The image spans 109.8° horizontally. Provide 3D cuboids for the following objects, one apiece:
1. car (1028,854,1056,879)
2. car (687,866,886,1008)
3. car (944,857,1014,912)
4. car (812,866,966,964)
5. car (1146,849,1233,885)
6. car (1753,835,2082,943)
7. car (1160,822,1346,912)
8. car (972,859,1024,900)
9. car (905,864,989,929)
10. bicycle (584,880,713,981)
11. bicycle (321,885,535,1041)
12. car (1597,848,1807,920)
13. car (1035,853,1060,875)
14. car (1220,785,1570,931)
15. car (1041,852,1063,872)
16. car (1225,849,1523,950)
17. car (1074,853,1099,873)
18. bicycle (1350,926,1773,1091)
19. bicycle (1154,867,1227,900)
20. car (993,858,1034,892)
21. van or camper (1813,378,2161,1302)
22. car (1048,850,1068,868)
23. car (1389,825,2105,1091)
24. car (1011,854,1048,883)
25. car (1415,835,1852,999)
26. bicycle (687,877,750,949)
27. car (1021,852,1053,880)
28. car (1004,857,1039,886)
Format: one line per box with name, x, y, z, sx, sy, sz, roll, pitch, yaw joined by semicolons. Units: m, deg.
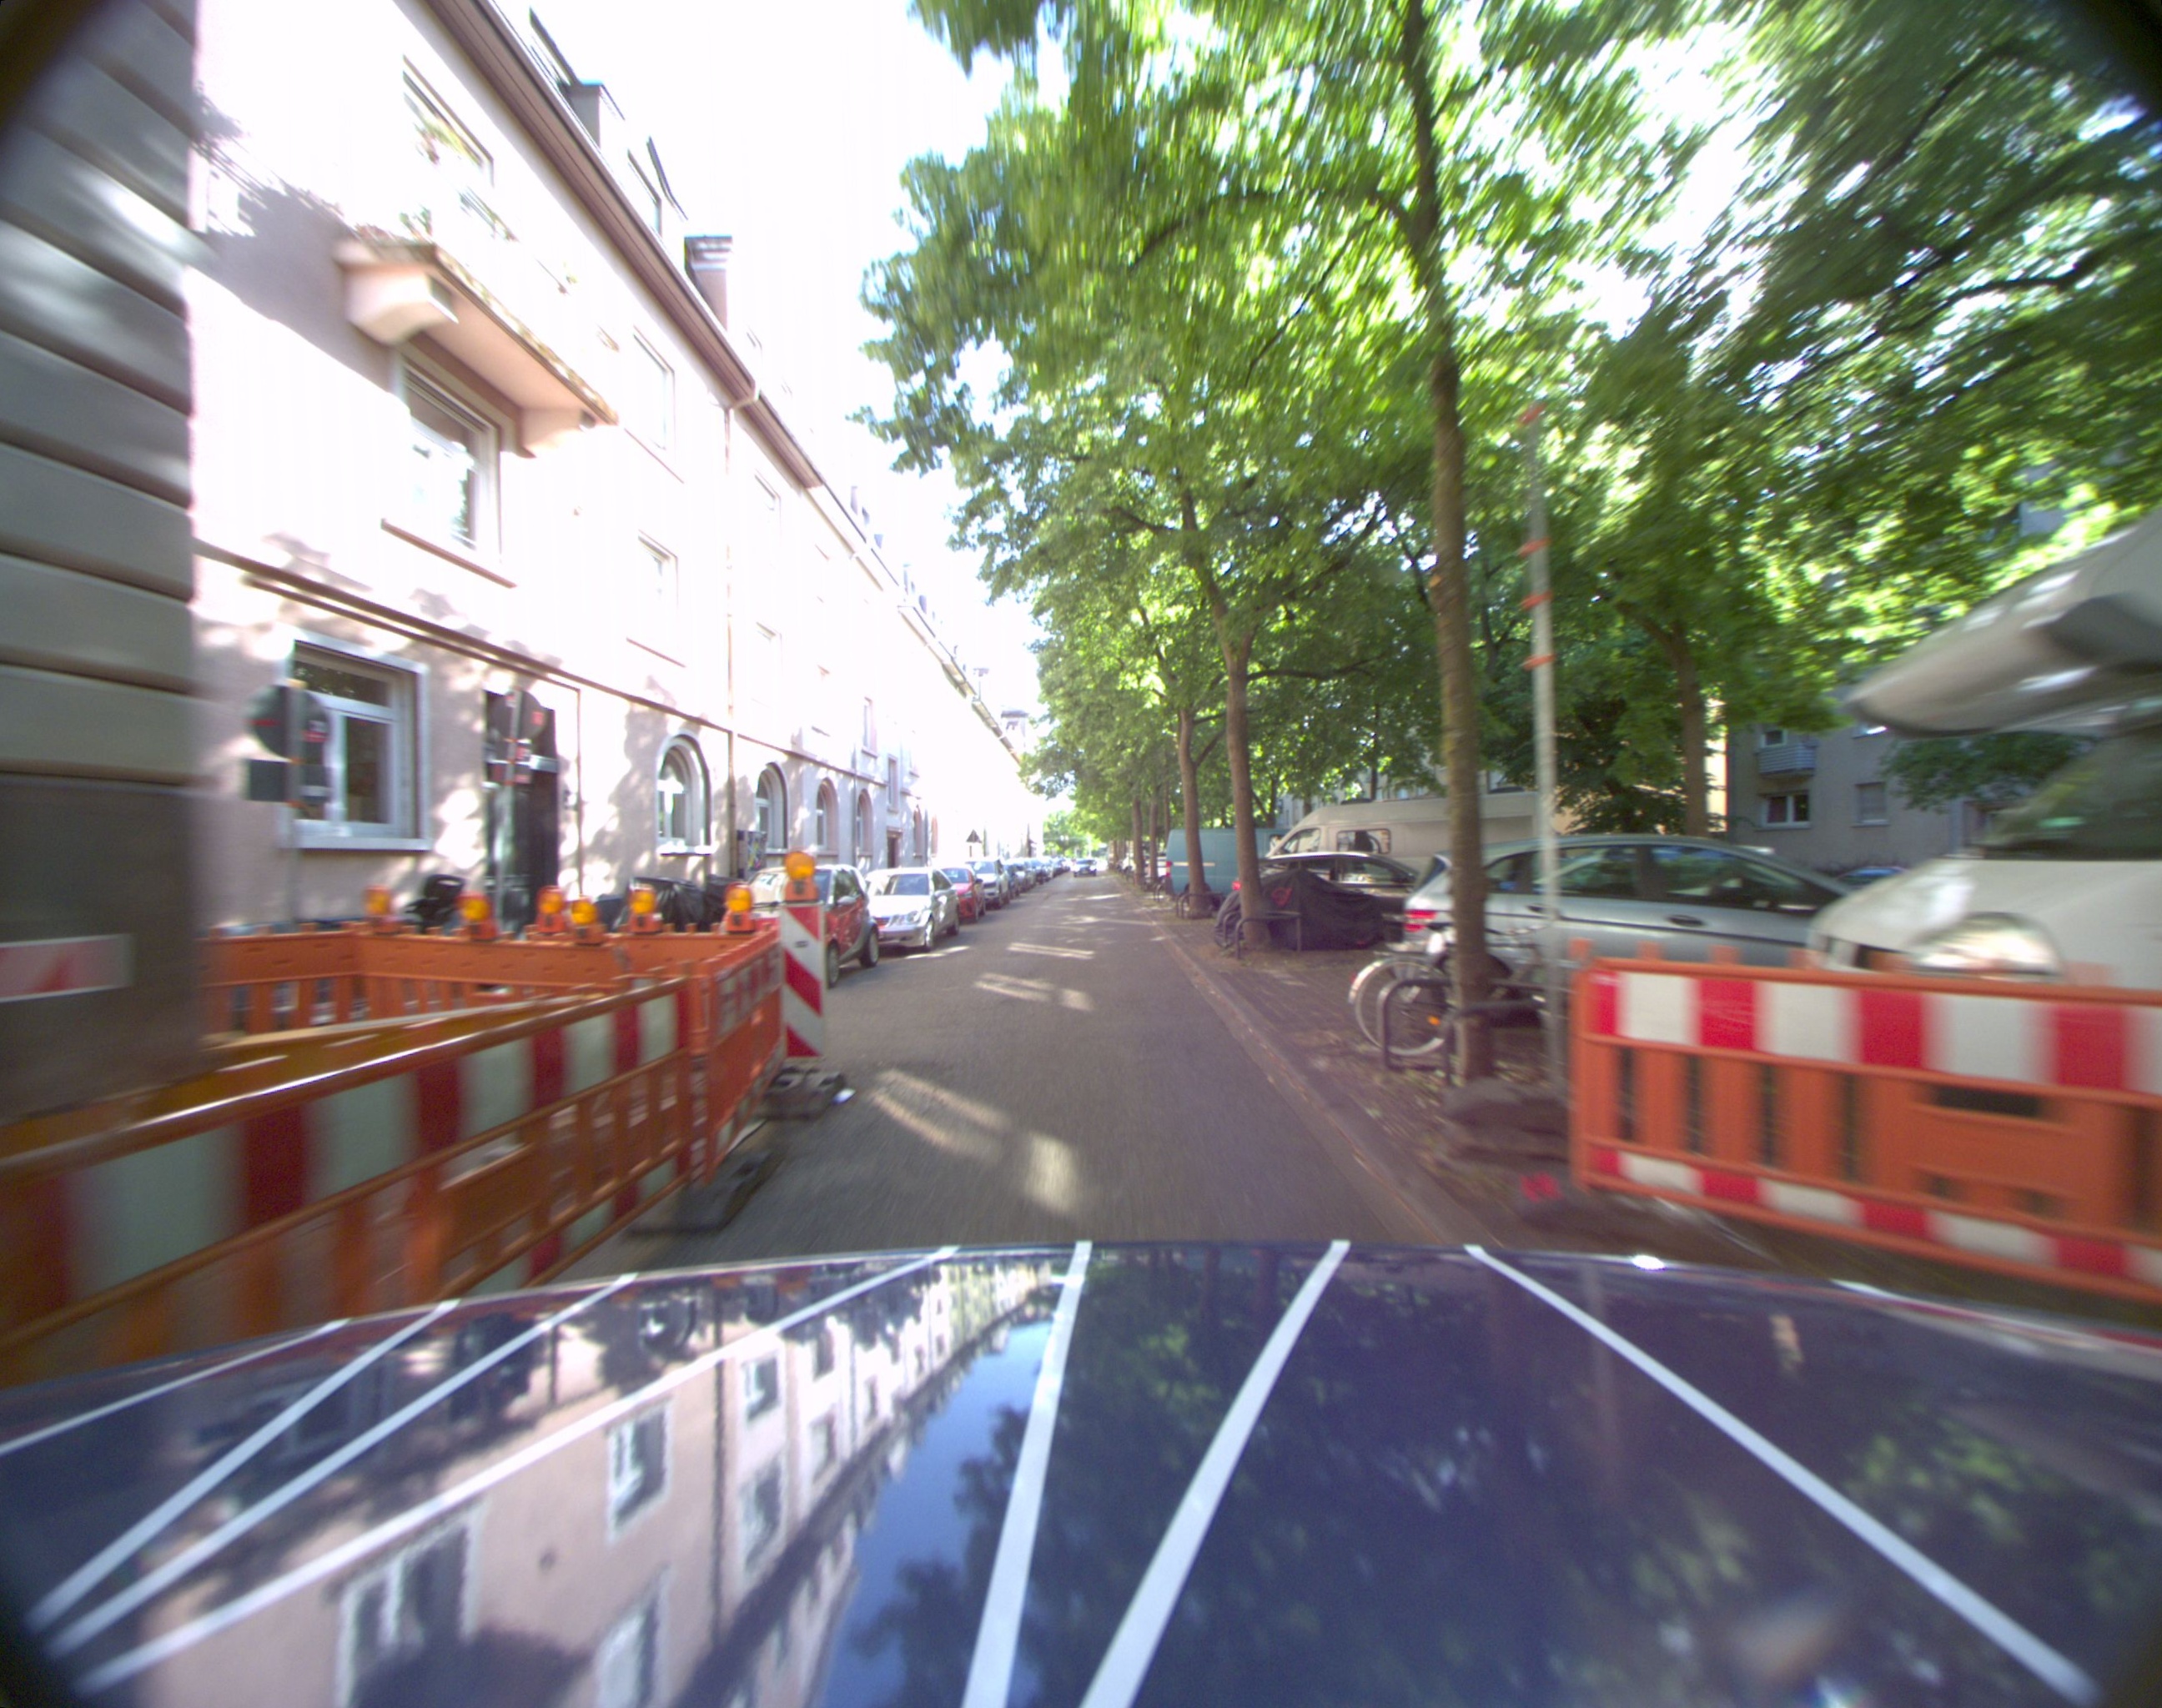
car;-2.895;0.869;56.683;1.863;1.772;4.000;-1;0;0
car;-3.743;0.971;10.163;1.490;1.548;2.969;-1;0;0
car;-3.229;0.927;24.762;1.671;1.590;4.273;-1;0;0
car;-3.353;0.997;14.144;1.765;1.455;4.244;-1;0;0
car;4.673;0.553;32.785;3.265;1.408;1.750;-2;1;32
car;15.085;0.555;14.086;1.718;1.688;3.939;1;0;0
car;4.467;0.324;19.863;4.387;2.155;1.774;0;0;28
car;-3.275;0.972;30.540;1.671;1.503;3.606;-1;0;0
car;-3.361;1.020;19.723;1.671;1.419;3.971;-1;0;-3
bicycle;-6.480;1.088;11.557;0.542;1.274;2.343;-1;0;2
bicycle;-6.683;1.034;7.943;0.445;1.340;2.022;-1;0;0
car;15.294;0.671;19.053;1.998;1.576;4.000;-1;0;0
car;-2.780;0.783;62.974;1.863;1.772;4.000;-1;0;0
car;6.170;0.087;15.452;6.186;2.497;2.142;-1;0;28
car;-2.583;0.707;69.010;1.863;1.772;4.000;-1;0;0
car;4.931;0.682;13.003;4.512;1.475;1.741;-1;0;31
car;0.472;0.717;61.364;1.792;1.510;4.001;-3;0;4
bicycle;3.113;1.007;5.122;2.379;0.972;0.502;-2;0;10
bicycle;3.327;0.904;23.110;2.149;0.964;0.609;-1;1;8
car;-3.103;0.943;35.314;1.577;1.428;3.606;-1;0;0
van or camper;6.505;-0.069;2.123;6.017;2.984;2.404;0;0;30
car;-2.366;0.509;78.787;1.863;1.772;4.000;-1;0;0
car;4.767;0.638;6.262;3.990;1.607;1.800;-1;0;27
car;-3.028;0.837;45.423;1.863;1.584;4.000;-1;0;0
car;6.144;0.600;8.905;3.815;1.535;1.685;0;0;35
bicycle;-6.664;1.052;14.036;0.427;1.195;1.530;-1;0;0
car;-2.907;0.774;50.646;1.863;1.772;4.000;-1;0;0
car;-3.091;0.888;40.313;1.577;1.446;3.402;-1;0;0
